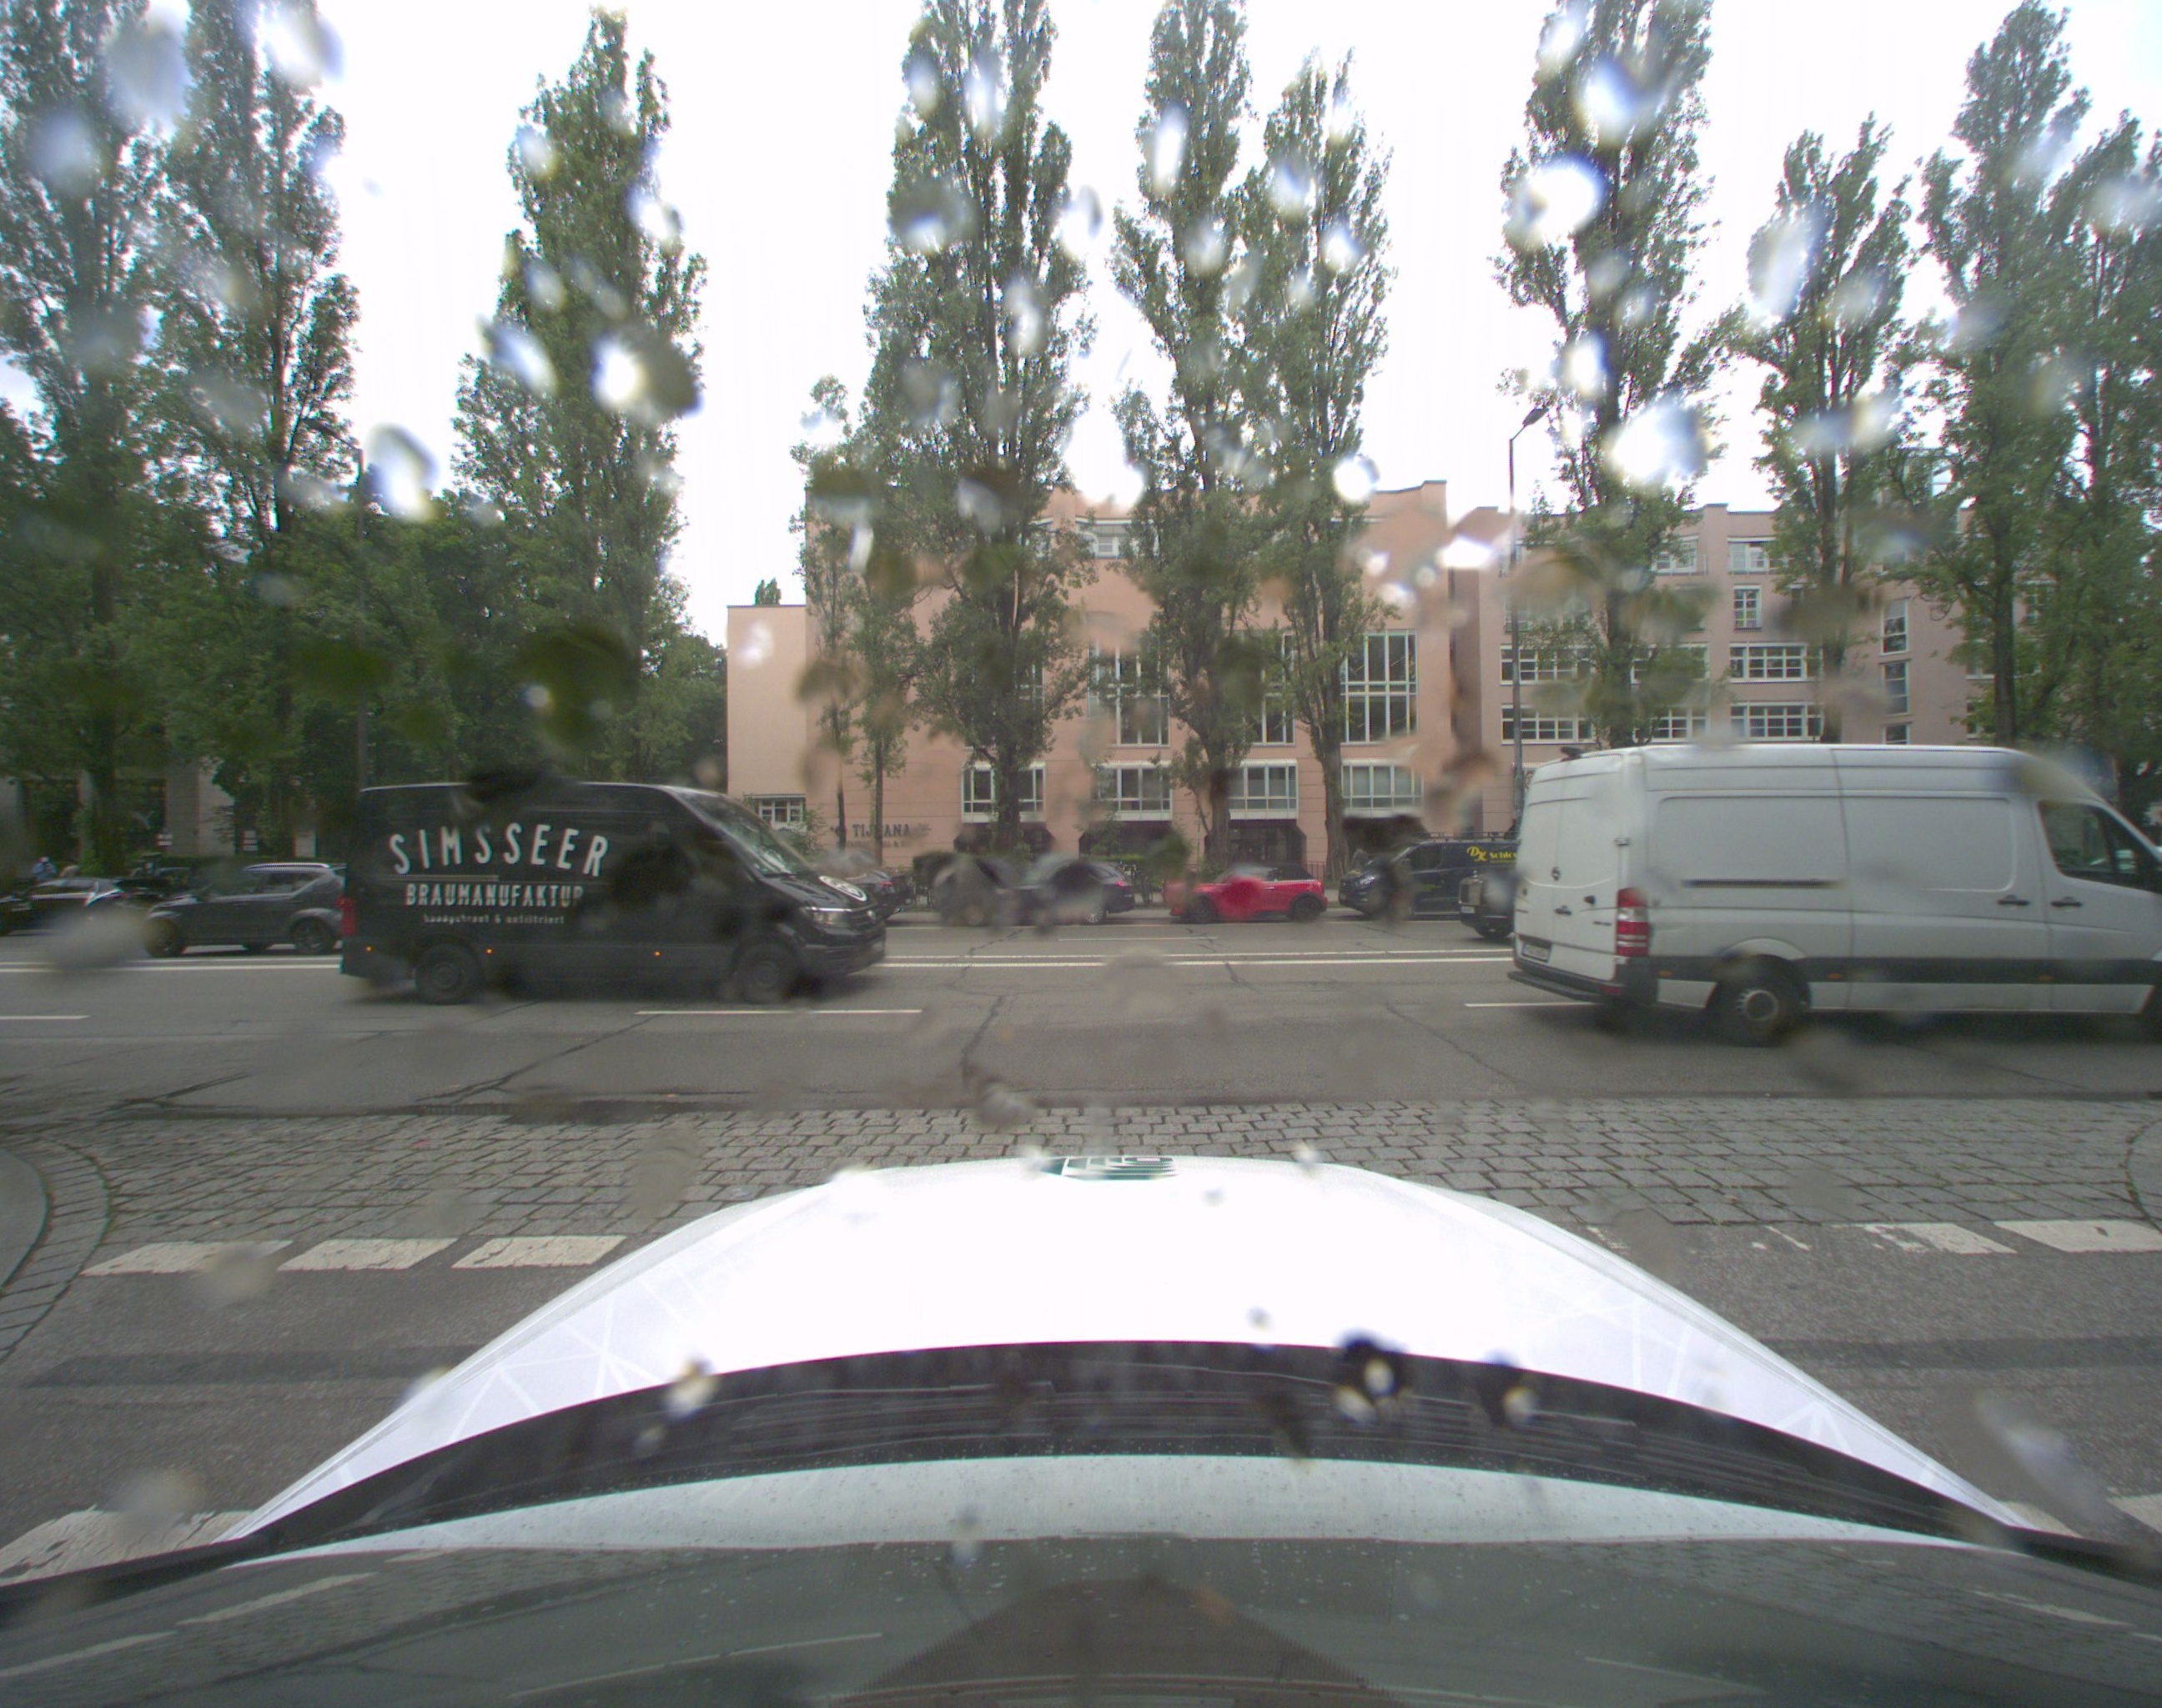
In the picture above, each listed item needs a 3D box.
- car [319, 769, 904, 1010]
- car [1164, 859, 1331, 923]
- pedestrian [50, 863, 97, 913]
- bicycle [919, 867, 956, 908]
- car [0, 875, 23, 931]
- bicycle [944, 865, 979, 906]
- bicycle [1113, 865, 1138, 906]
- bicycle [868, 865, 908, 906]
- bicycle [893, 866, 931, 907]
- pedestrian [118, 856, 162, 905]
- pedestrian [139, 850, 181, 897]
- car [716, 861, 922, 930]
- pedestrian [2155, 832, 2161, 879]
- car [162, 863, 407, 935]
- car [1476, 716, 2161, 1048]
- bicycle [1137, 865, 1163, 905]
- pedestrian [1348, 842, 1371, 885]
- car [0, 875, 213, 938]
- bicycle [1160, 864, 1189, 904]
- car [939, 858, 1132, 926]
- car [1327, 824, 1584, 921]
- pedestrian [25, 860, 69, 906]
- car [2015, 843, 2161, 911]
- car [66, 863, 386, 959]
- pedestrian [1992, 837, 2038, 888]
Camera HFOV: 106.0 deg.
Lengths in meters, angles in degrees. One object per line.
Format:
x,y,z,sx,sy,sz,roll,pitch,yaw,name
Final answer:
-5.404,0.364,10.060,5.893,2.555,2.082,-1,1,0,car
4.009,0.882,20.071,3.844,1.448,1.680,-1,0,3,car
-35.057,1.177,28.352,0.727,1.713,0.709,-1,0,1,pedestrian
-4.324,0.987,24.677,0.671,1.124,1.990,-1,0,2,bicycle
-29.386,1.254,20.216,3.855,1.412,1.794,0,0,0,car
-3.596,0.931,24.662,0.671,1.124,1.990,-1,0,2,bicycle
1.326,0.929,24.505,0.671,1.124,1.742,-1,0,2,bicycle
-5.824,0.935,24.666,0.671,1.124,1.990,-1,0,2,bicycle
-5.097,0.954,24.666,0.671,1.124,1.990,-1,0,2,bicycle
-33.851,0.947,29.314,0.727,1.713,0.709,-1,0,1,pedestrian
-33.942,0.710,30.027,0.727,1.713,0.709,-1,0,1,pedestrian
-6.412,0.991,20.292,4.484,1.529,1.794,-1,0,0,car
39.907,0.038,29.616,0.727,1.713,0.709,-1,0,1,pedestrian
-19.436,1.068,20.002,4.208,1.600,1.794,-1,0,0,car
7.271,0.190,7.787,6.001,2.651,2.047,-1,2,0,car
2.067,0.916,24.497,0.671,1.124,1.742,-1,0,2,bicycle
11.353,0.381,33.246,0.704,1.713,0.732,-1,0,4,pedestrian
-24.218,1.250,19.997,3.855,1.412,1.794,0,0,0,car
2.797,0.887,24.502,0.671,1.124,1.730,-1,0,2,bicycle
-1.065,0.909,20.297,4.592,1.529,1.794,-1,0,0,car
9.145,0.437,20.256,5.460,2.197,2.024,-1,0,0,car
-38.962,1.080,30.692,0.727,1.713,0.709,-1,0,1,pedestrian
26.365,0.518,20.192,4.301,1.542,1.998,-1,0,-3,car
-14.901,0.955,14.357,3.726,1.527,1.850,-1,-1,2,car
32.061,0.283,27.963,0.727,1.713,0.709,-1,0,1,pedestrian
